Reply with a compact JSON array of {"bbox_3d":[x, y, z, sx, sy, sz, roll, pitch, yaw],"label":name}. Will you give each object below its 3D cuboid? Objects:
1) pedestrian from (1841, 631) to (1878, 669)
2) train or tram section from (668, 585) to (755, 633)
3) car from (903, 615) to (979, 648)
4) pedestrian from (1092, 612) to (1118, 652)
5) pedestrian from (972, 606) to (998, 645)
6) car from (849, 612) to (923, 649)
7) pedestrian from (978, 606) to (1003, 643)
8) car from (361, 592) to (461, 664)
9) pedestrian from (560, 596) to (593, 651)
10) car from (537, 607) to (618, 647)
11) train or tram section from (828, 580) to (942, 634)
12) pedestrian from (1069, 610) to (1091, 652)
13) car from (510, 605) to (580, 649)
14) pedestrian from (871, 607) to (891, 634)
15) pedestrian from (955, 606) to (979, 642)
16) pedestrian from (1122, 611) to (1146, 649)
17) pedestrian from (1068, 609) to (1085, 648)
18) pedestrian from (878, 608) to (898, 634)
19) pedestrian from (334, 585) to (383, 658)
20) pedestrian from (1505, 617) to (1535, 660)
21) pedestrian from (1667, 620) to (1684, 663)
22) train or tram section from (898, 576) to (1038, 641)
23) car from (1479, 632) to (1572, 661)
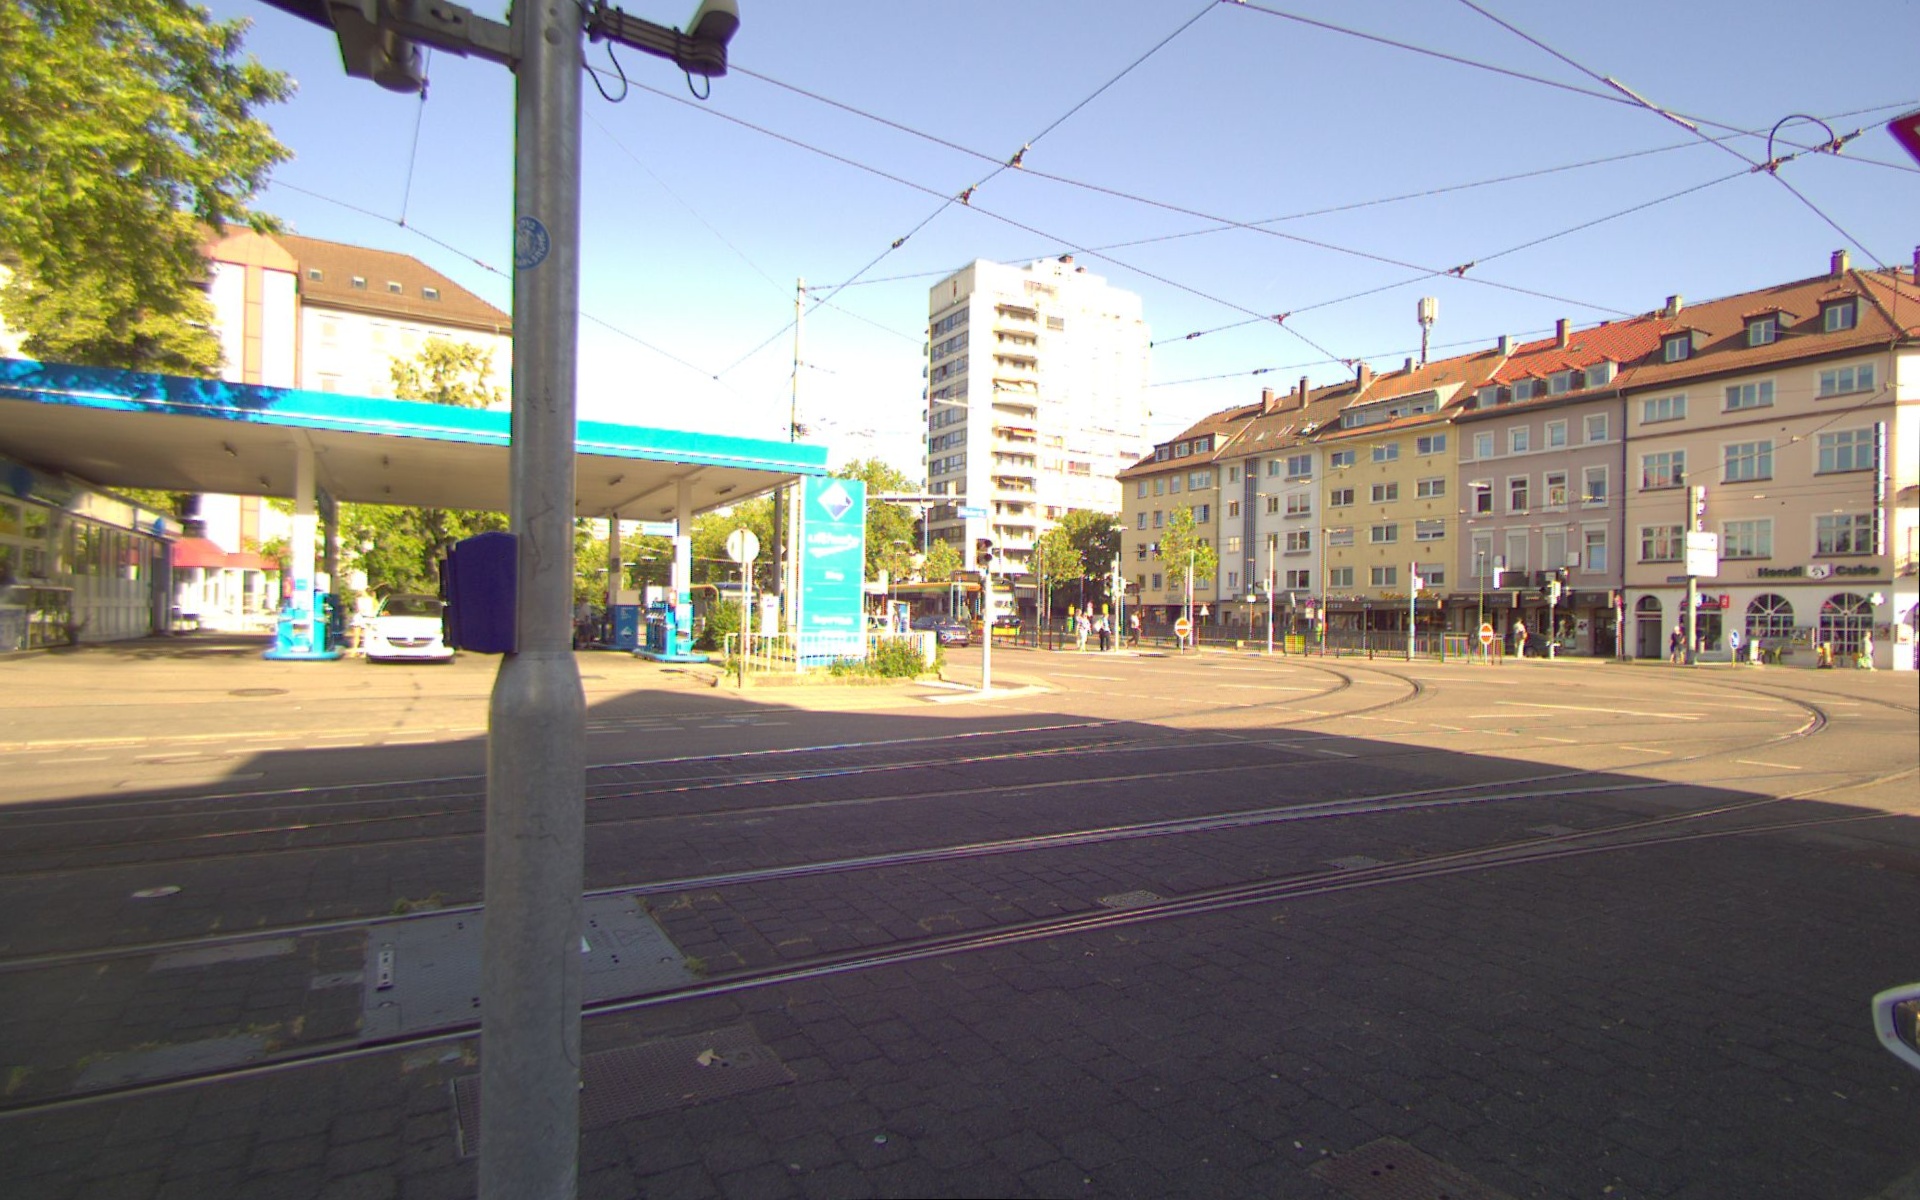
[{"bbox_3d":[39.304,2.158,43.885,1.033,1.612,1.056,1,-1,-39],"label":"pedestrian"},{"bbox_3d":[-15.031,0.450,60.042,2.233,2.627,10.398,2,0,-30],"label":"train or tram section"},{"bbox_3d":[-0.959,1.490,48.351,1.937,1.475,4.077,1,0,-30],"label":"car"},{"bbox_3d":[5.973,1.323,41.389,0.791,1.646,0.706,1,-1,-33],"label":"pedestrian"},{"bbox_3d":[1.210,1.226,48.568,0.902,1.826,0.887,1,-1,-33],"label":"pedestrian"},{"bbox_3d":[-3.507,1.392,46.809,1.976,1.615,3.970,1,-1,-29],"label":"car"},{"bbox_3d":[1.518,1.196,49.793,0.902,1.826,0.887,1,-1,-33],"label":"pedestrian"},{"bbox_3d":[-12.273,0.604,22.436,1.773,1.461,3.968,2,-1,-30],"label":"car"},{"bbox_3d":[-12.915,0.804,33.868,0.896,1.826,0.893,1,-1,-12],"label":"pedestrian"},{"bbox_3d":[-17.205,1.210,45.386,1.960,1.685,4.001,1,-1,2],"label":"car"},{"bbox_3d":[-5.251,0.519,67.585,3.252,3.335,10.157,1,-1,-33],"label":"train or tram section"},{"bbox_3d":[4.940,1.279,41.279,0.549,1.721,0.740,1,-1,-33],"label":"pedestrian"},{"bbox_3d":[-13.503,0.862,32.581,1.752,1.332,3.520,1,-1,-28],"label":"car"},{"bbox_3d":[-4.833,1.269,61.623,0.902,1.646,0.887,1,-1,-33],"label":"pedestrian"},{"bbox_3d":[0.349,1.235,51.908,0.902,1.826,0.887,1,-1,-33],"label":"pedestrian"},{"bbox_3d":[7.805,1.345,45.076,0.774,1.721,0.692,1,-1,-33],"label":"pedestrian"},{"bbox_3d":[5.129,1.242,44.059,0.491,1.721,0.553,1,-1,-33],"label":"pedestrian"},{"bbox_3d":[-4.505,1.314,62.680,0.902,1.646,0.887,1,-1,-33],"label":"pedestrian"},{"bbox_3d":[-13.902,0.502,23.239,0.634,1.652,0.813,1,-1,-2],"label":"pedestrian"},{"bbox_3d":[24.495,1.693,43.958,0.801,1.842,0.871,1,-1,-29],"label":"pedestrian"},{"bbox_3d":[34.209,1.982,48.023,0.498,2.040,0.507,1,-1,-27],"label":"pedestrian"},{"bbox_3d":[0.230,0.516,58.967,3.252,3.459,10.157,1,-1,-33],"label":"train or tram section"},{"bbox_3d":[30.774,2.494,54.717,1.980,1.483,3.962,1,-1,-34],"label":"car"}]
